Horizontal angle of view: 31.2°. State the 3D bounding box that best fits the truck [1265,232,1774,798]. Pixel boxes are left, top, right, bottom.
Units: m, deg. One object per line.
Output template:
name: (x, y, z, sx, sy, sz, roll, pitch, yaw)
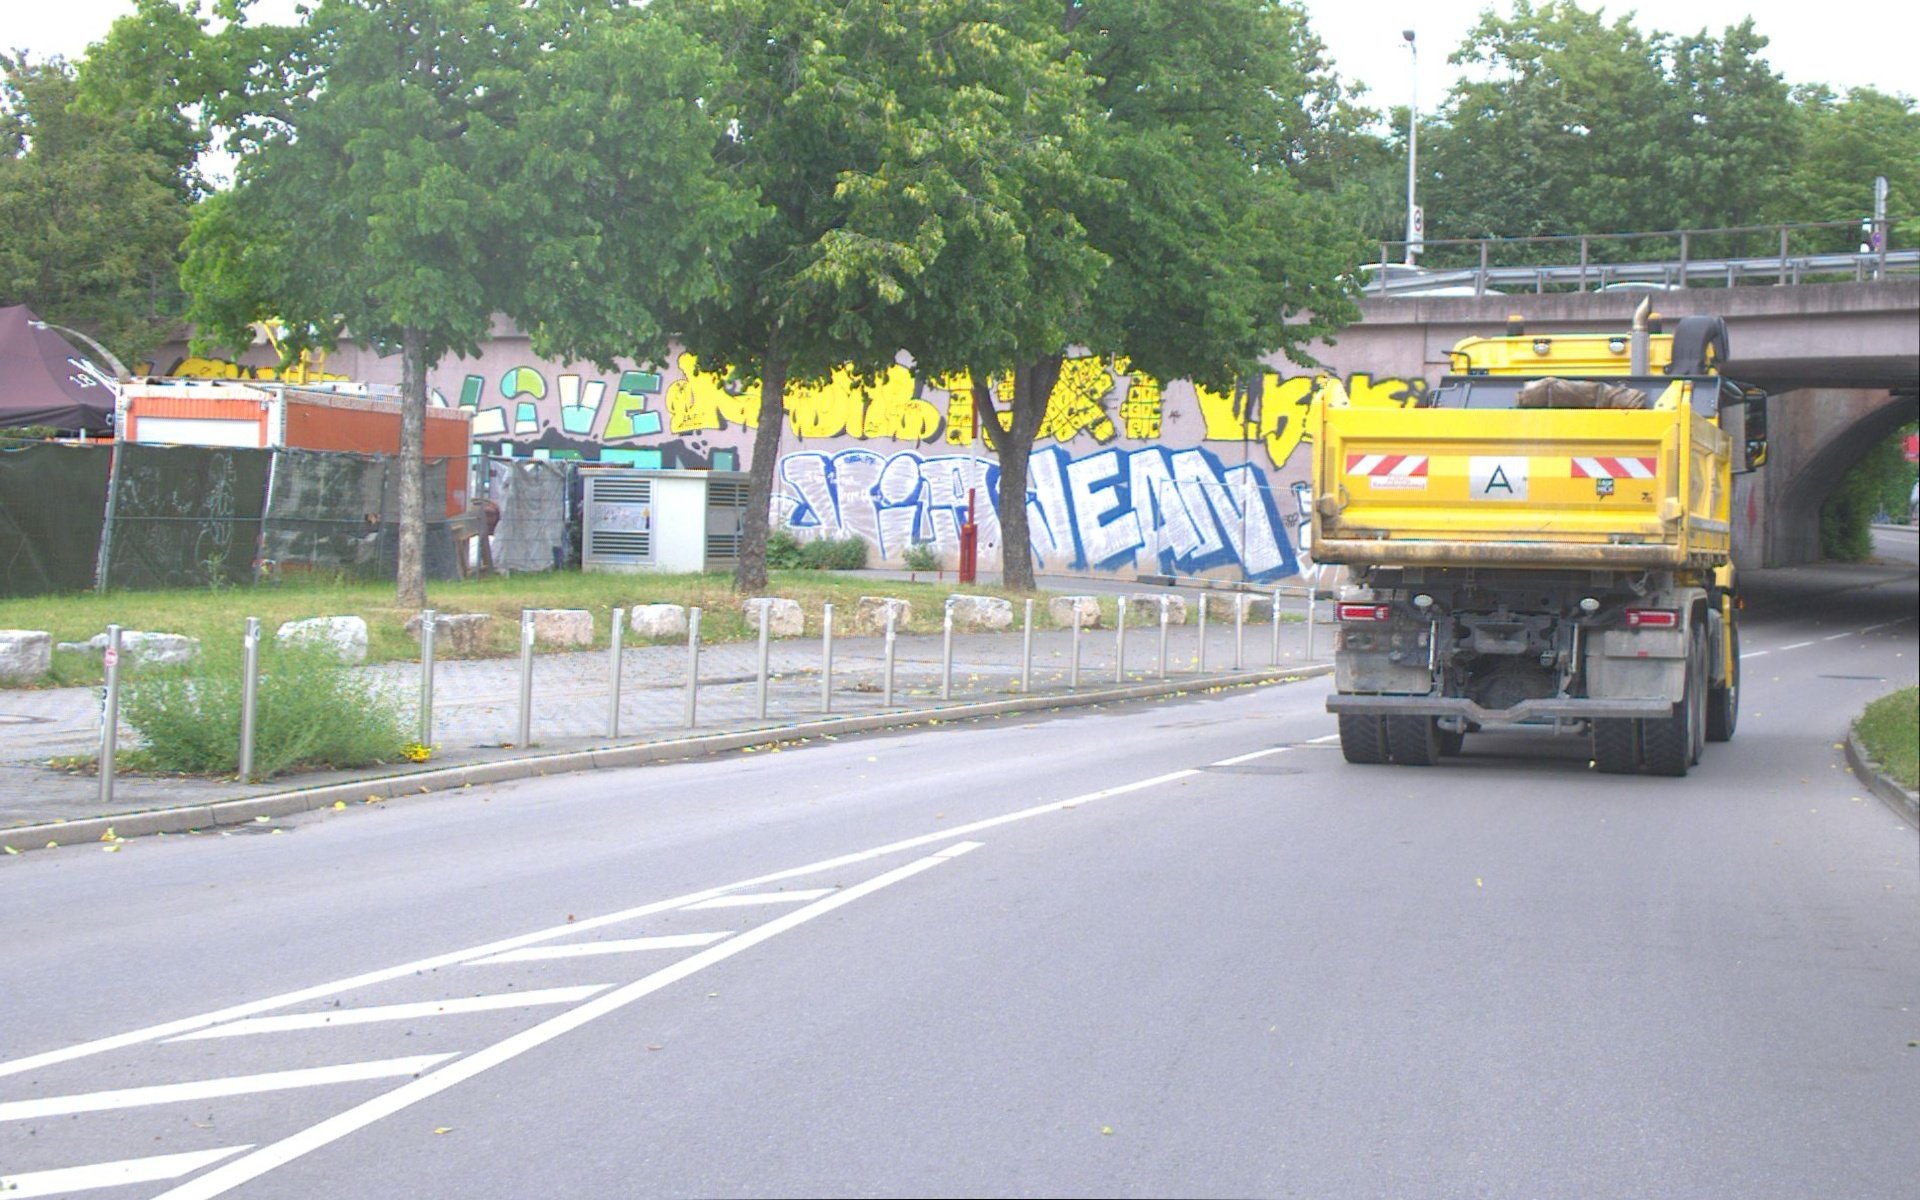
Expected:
truck: (4.600, -0.653, 26.747, 2.760, 3.685, 7.874, 3, 2, 17)
